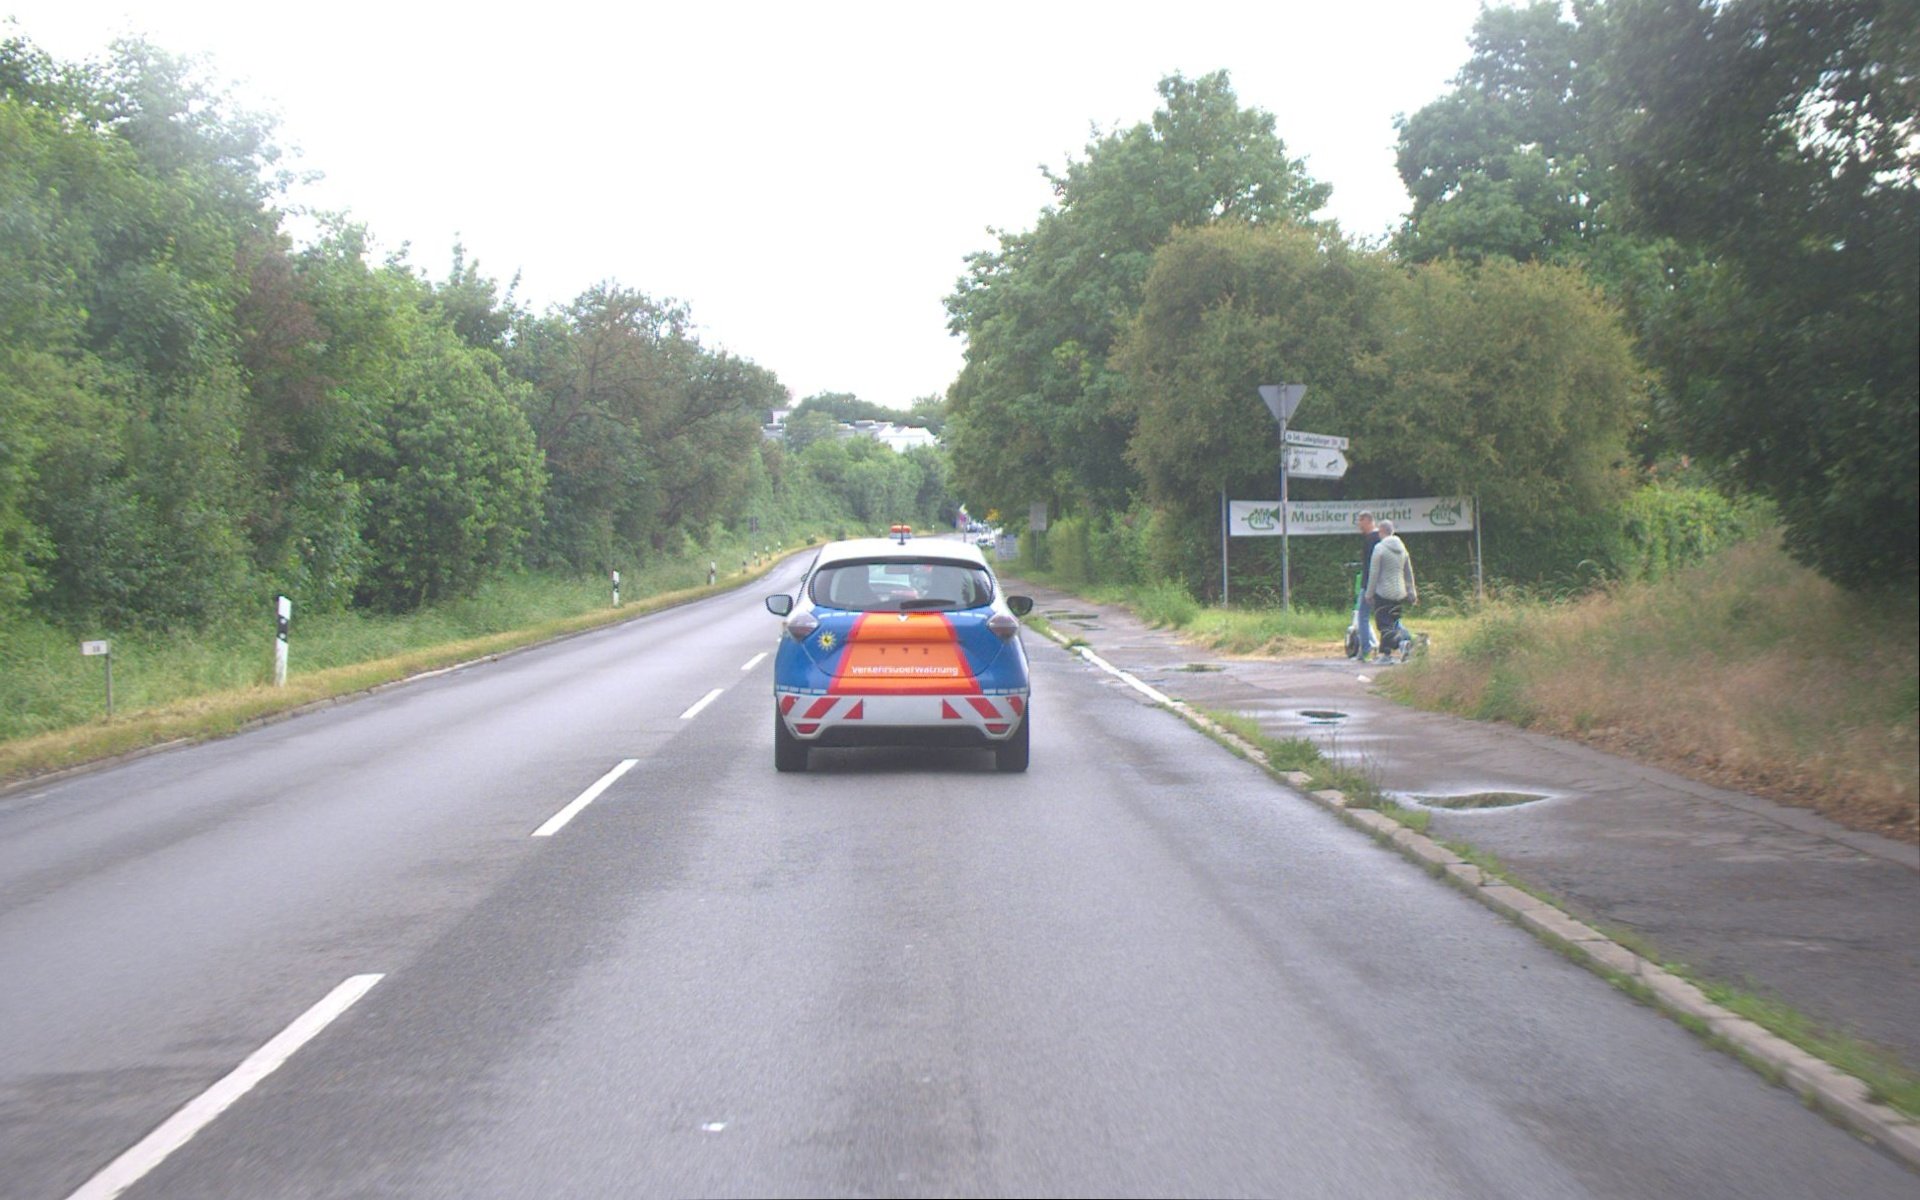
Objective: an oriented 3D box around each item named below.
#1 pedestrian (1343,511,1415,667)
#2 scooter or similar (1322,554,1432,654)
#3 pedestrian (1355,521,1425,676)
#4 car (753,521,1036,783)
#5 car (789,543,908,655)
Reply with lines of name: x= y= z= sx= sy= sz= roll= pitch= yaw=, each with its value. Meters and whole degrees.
pedestrian: x=4.993 y=-0.133 z=41.004 sx=0.693 sy=1.821 sz=0.801 roll=-2 pitch=0 yaw=-1
scooter or similar: x=5.098 y=0.056 z=42.052 sx=1.326 sy=1.202 sz=0.373 roll=-1 pitch=1 yaw=40
pedestrian: x=4.999 y=-0.023 z=40.028 sx=0.661 sy=1.772 sz=0.760 roll=-2 pitch=0 yaw=-1
car: x=-0.466 y=0.318 z=24.202 sx=1.806 sy=1.662 sz=3.856 roll=1 pitch=1 yaw=-1
car: x=-1.670 y=-0.036 z=51.803 sx=1.694 sy=1.590 sz=3.856 roll=1 pitch=1 yaw=-2
